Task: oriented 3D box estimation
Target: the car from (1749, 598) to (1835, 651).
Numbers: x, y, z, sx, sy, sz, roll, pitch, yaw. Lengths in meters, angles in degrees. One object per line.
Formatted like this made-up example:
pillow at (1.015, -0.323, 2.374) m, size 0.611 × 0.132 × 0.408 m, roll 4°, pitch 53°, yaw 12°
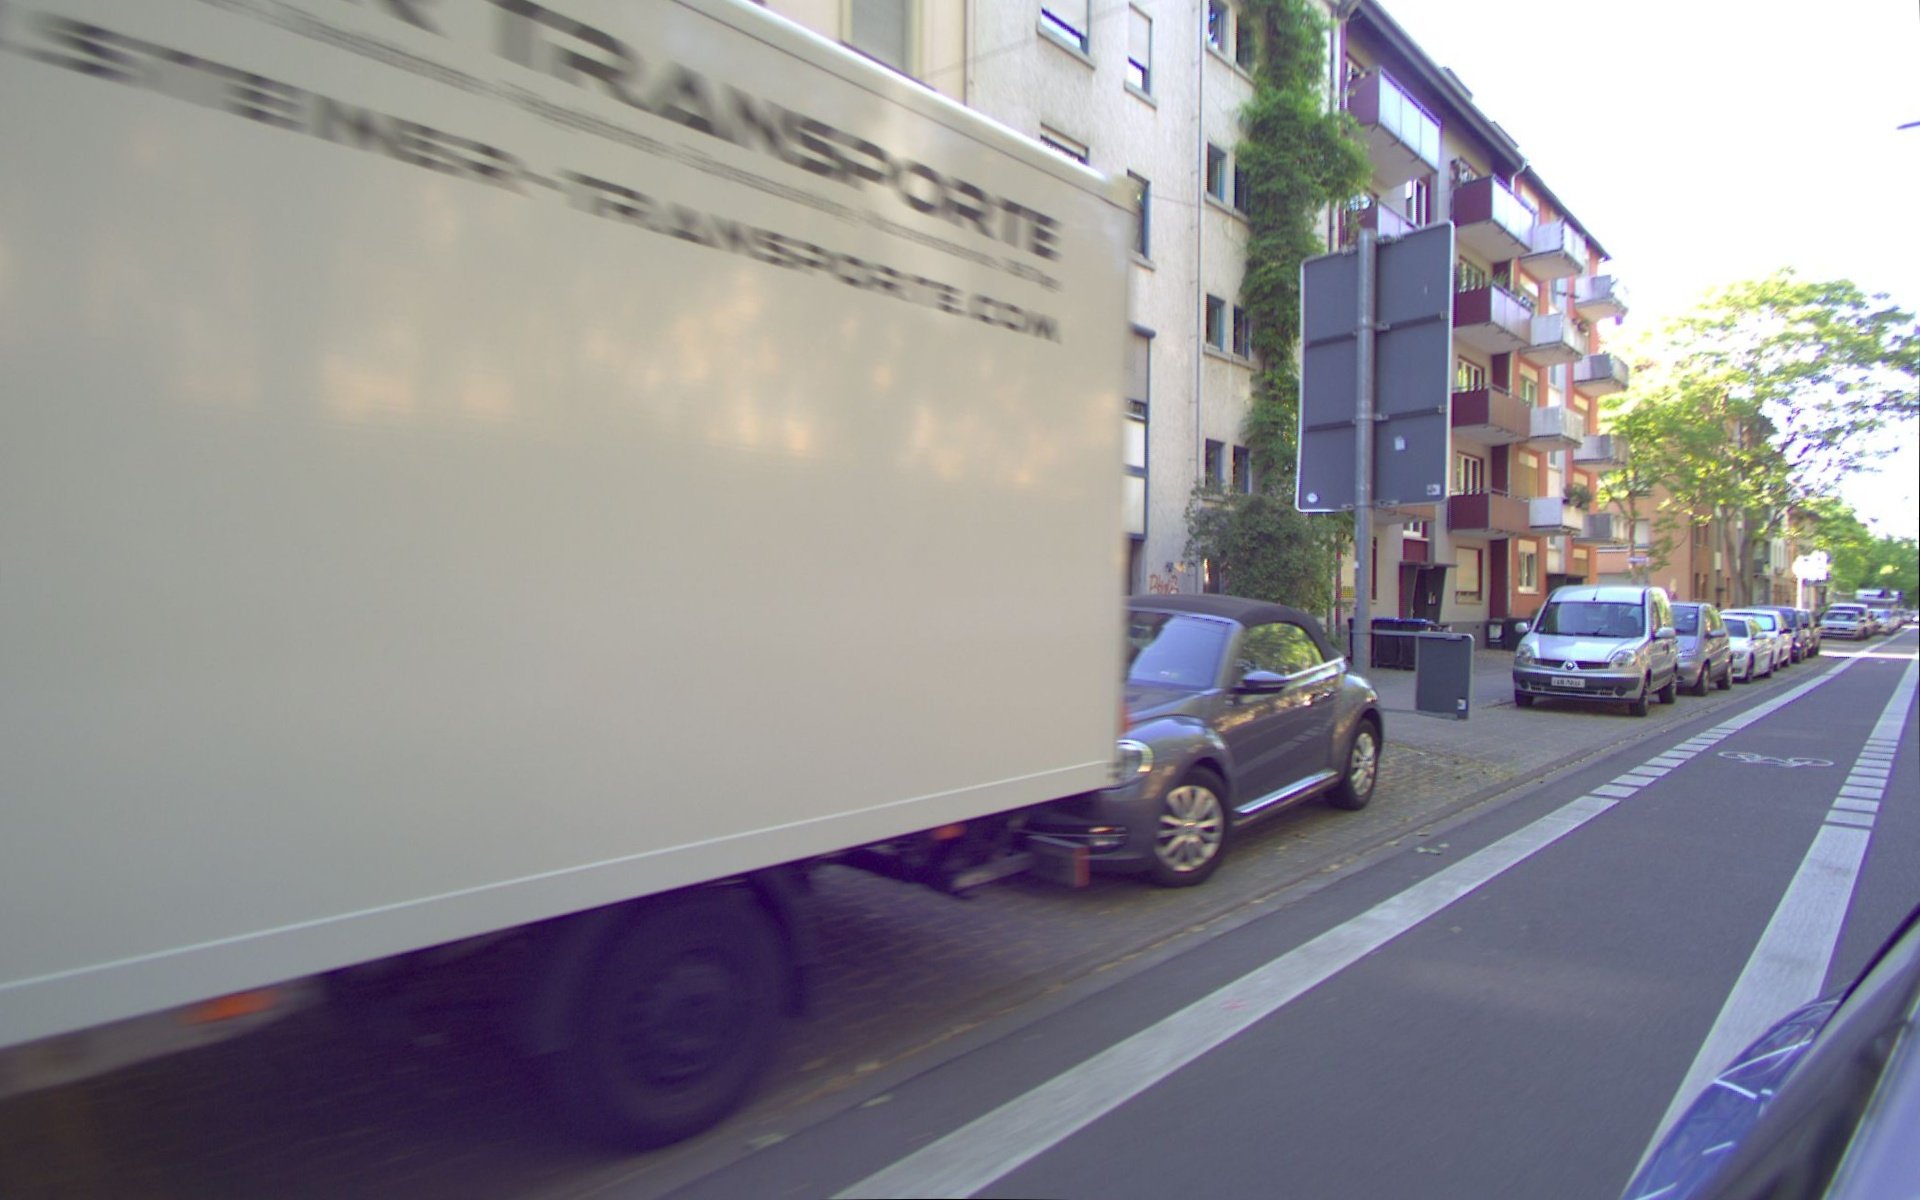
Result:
car at (26.301, 0.729, 31.955) m, size 1.734 × 1.480 × 3.853 m, roll 3°, pitch 2°, yaw 45°

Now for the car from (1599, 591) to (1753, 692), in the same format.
car at (13.061, 0.686, 18.386) m, size 3.529 × 1.600 × 1.661 m, roll 0°, pitch 1°, yaw -44°

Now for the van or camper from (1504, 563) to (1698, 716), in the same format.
van or camper at (9.498, 0.483, 14.853) m, size 1.668 × 1.906 × 4.145 m, roll 2°, pitch 1°, yaw 42°

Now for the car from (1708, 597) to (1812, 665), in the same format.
car at (20.563, 0.734, 25.978) m, size 3.772 × 1.545 × 1.593 m, roll 0°, pitch 3°, yaw -45°

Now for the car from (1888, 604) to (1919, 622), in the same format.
car at (81.707, 1.136, 87.492) m, size 1.995 × 1.397 × 4.663 m, roll 3°, pitch 2°, yaw 45°

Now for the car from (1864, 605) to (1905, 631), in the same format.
car at (58.488, 1.123, 64.037) m, size 1.789 × 1.541 × 4.254 m, roll 3°, pitch 2°, yaw 44°

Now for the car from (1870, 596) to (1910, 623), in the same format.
car at (62.146, 0.634, 67.588) m, size 1.794 × 1.648 × 4.207 m, roll 3°, pitch 2°, yaw 45°

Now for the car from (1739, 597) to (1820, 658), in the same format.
car at (23.480, 0.743, 28.954) m, size 1.526 × 1.610 × 3.693 m, roll -1°, pitch 0°, yaw 43°

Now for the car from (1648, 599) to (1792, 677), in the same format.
car at (16.264, 0.750, 21.554) m, size 4.660 × 1.417 × 1.661 m, roll 1°, pitch 2°, yaw -43°

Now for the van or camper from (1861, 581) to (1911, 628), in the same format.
van or camper at (66.034, 0.320, 72.123) m, size 2.463 × 3.102 × 6.169 m, roll 3°, pitch 2°, yaw 44°

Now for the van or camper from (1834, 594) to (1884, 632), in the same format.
van or camper at (47.293, 0.683, 53.206) m, size 1.755 × 1.887 × 4.753 m, roll 1°, pitch 0°, yaw 44°

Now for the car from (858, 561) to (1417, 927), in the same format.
car at (1.429, 0.605, 6.610) m, size 1.729 × 1.576 × 4.091 m, roll 4°, pitch 3°, yaw 40°

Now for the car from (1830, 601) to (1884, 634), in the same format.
car at (43.509, 0.818, 49.067) m, size 1.706 × 1.491 × 3.935 m, roll 1°, pitch 1°, yaw 45°

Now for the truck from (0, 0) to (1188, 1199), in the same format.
truck at (-2.561, -0.158, 2.445) m, size 7.077 × 3.379 × 2.541 m, roll 0°, pitch 3°, yaw -45°

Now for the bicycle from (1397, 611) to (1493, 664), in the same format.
bicycle at (10.890, 0.813, 22.767) m, size 0.467 × 1.042 × 1.898 m, roll 1°, pitch 2°, yaw -39°
